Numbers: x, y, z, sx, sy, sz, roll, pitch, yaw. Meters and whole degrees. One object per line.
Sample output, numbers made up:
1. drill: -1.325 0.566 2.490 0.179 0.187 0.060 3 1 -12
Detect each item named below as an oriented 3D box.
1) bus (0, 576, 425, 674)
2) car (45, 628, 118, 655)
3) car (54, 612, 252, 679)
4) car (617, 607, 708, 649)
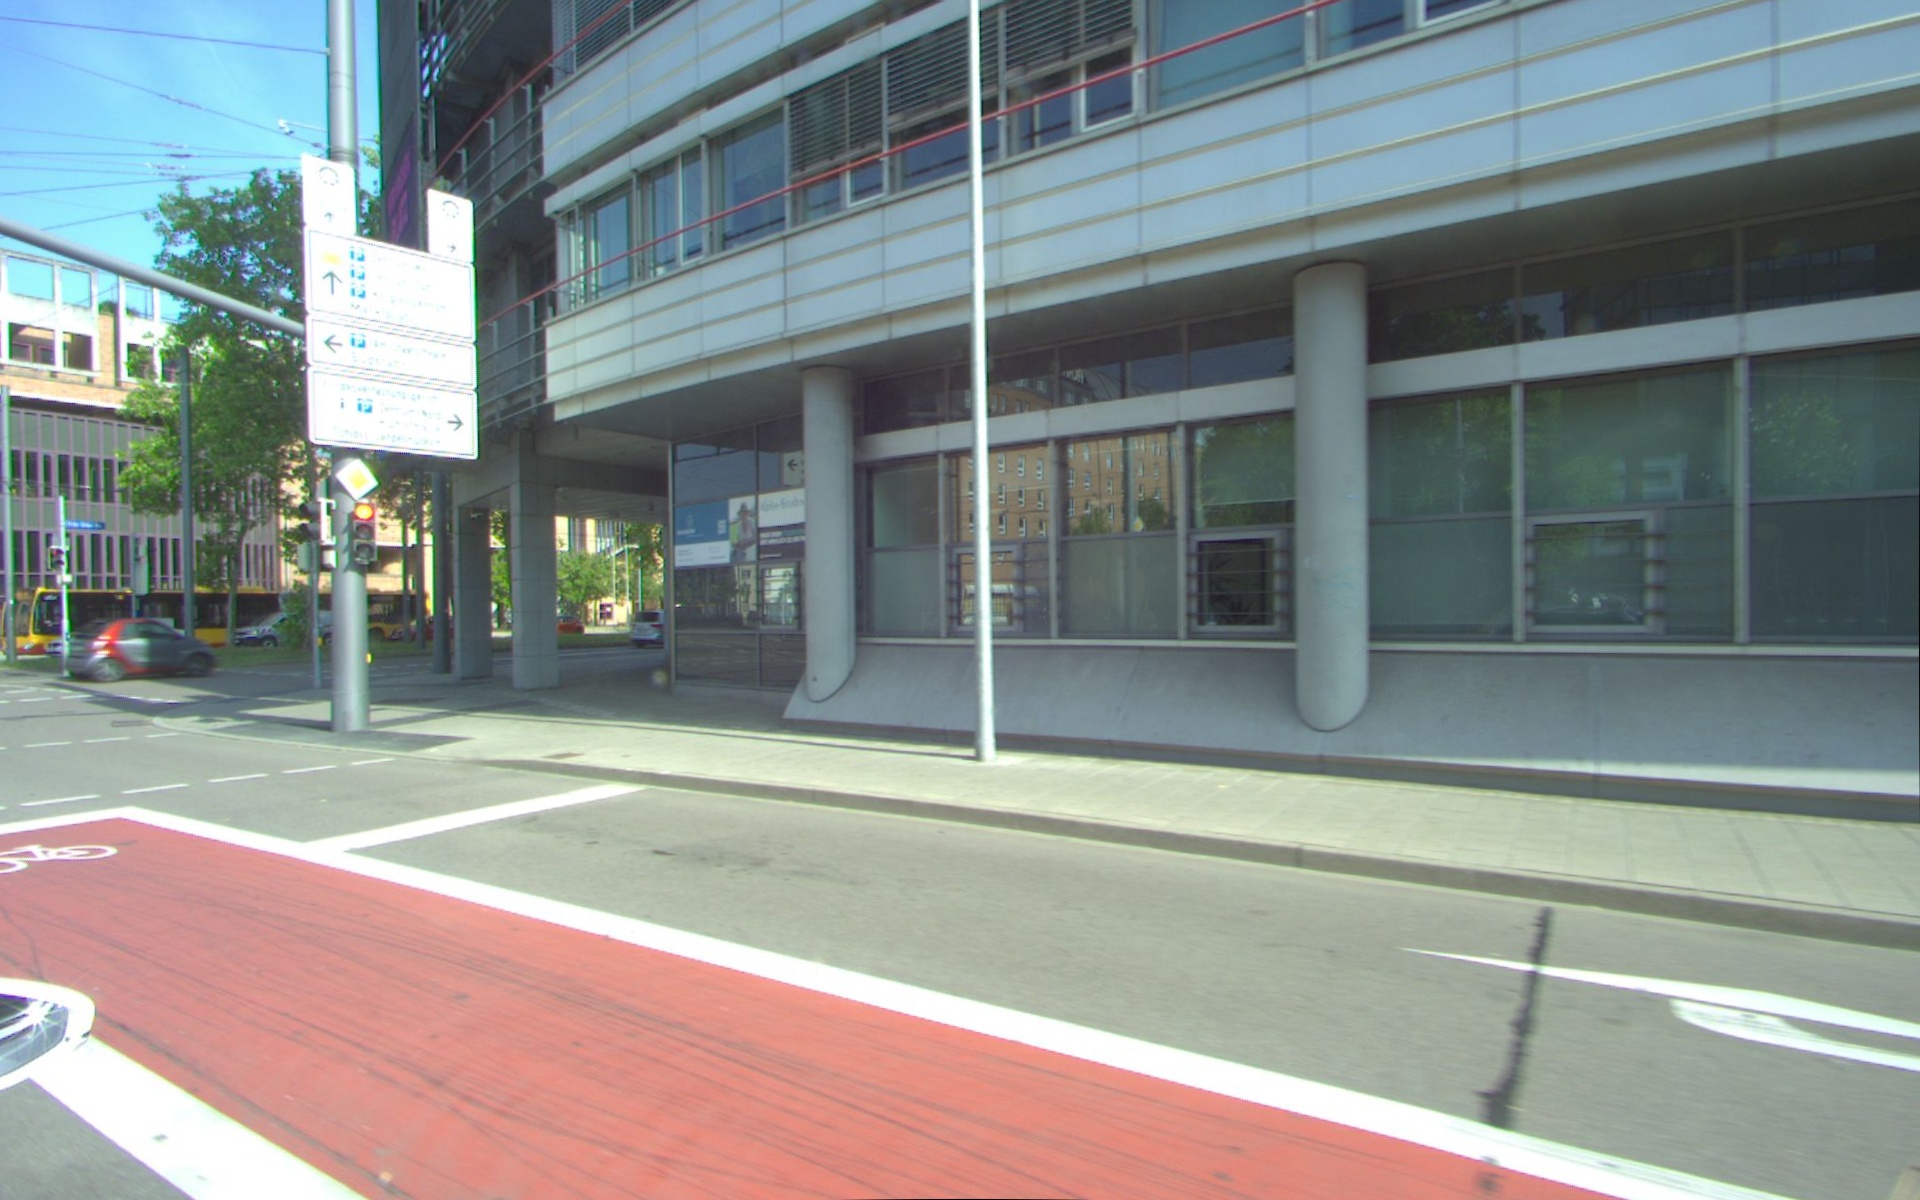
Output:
1. bus: -34.639 1.105 48.221 2.818 3.859 17.617 -2 -1 23
2. car: -34.429 1.612 39.264 1.078 0.970 1.948 -1 0 31
3. car: -20.498 1.097 25.602 1.675 1.512 3.590 2 1 26
4. car: -12.794 1.161 43.390 1.659 1.656 4.385 1 1 17
